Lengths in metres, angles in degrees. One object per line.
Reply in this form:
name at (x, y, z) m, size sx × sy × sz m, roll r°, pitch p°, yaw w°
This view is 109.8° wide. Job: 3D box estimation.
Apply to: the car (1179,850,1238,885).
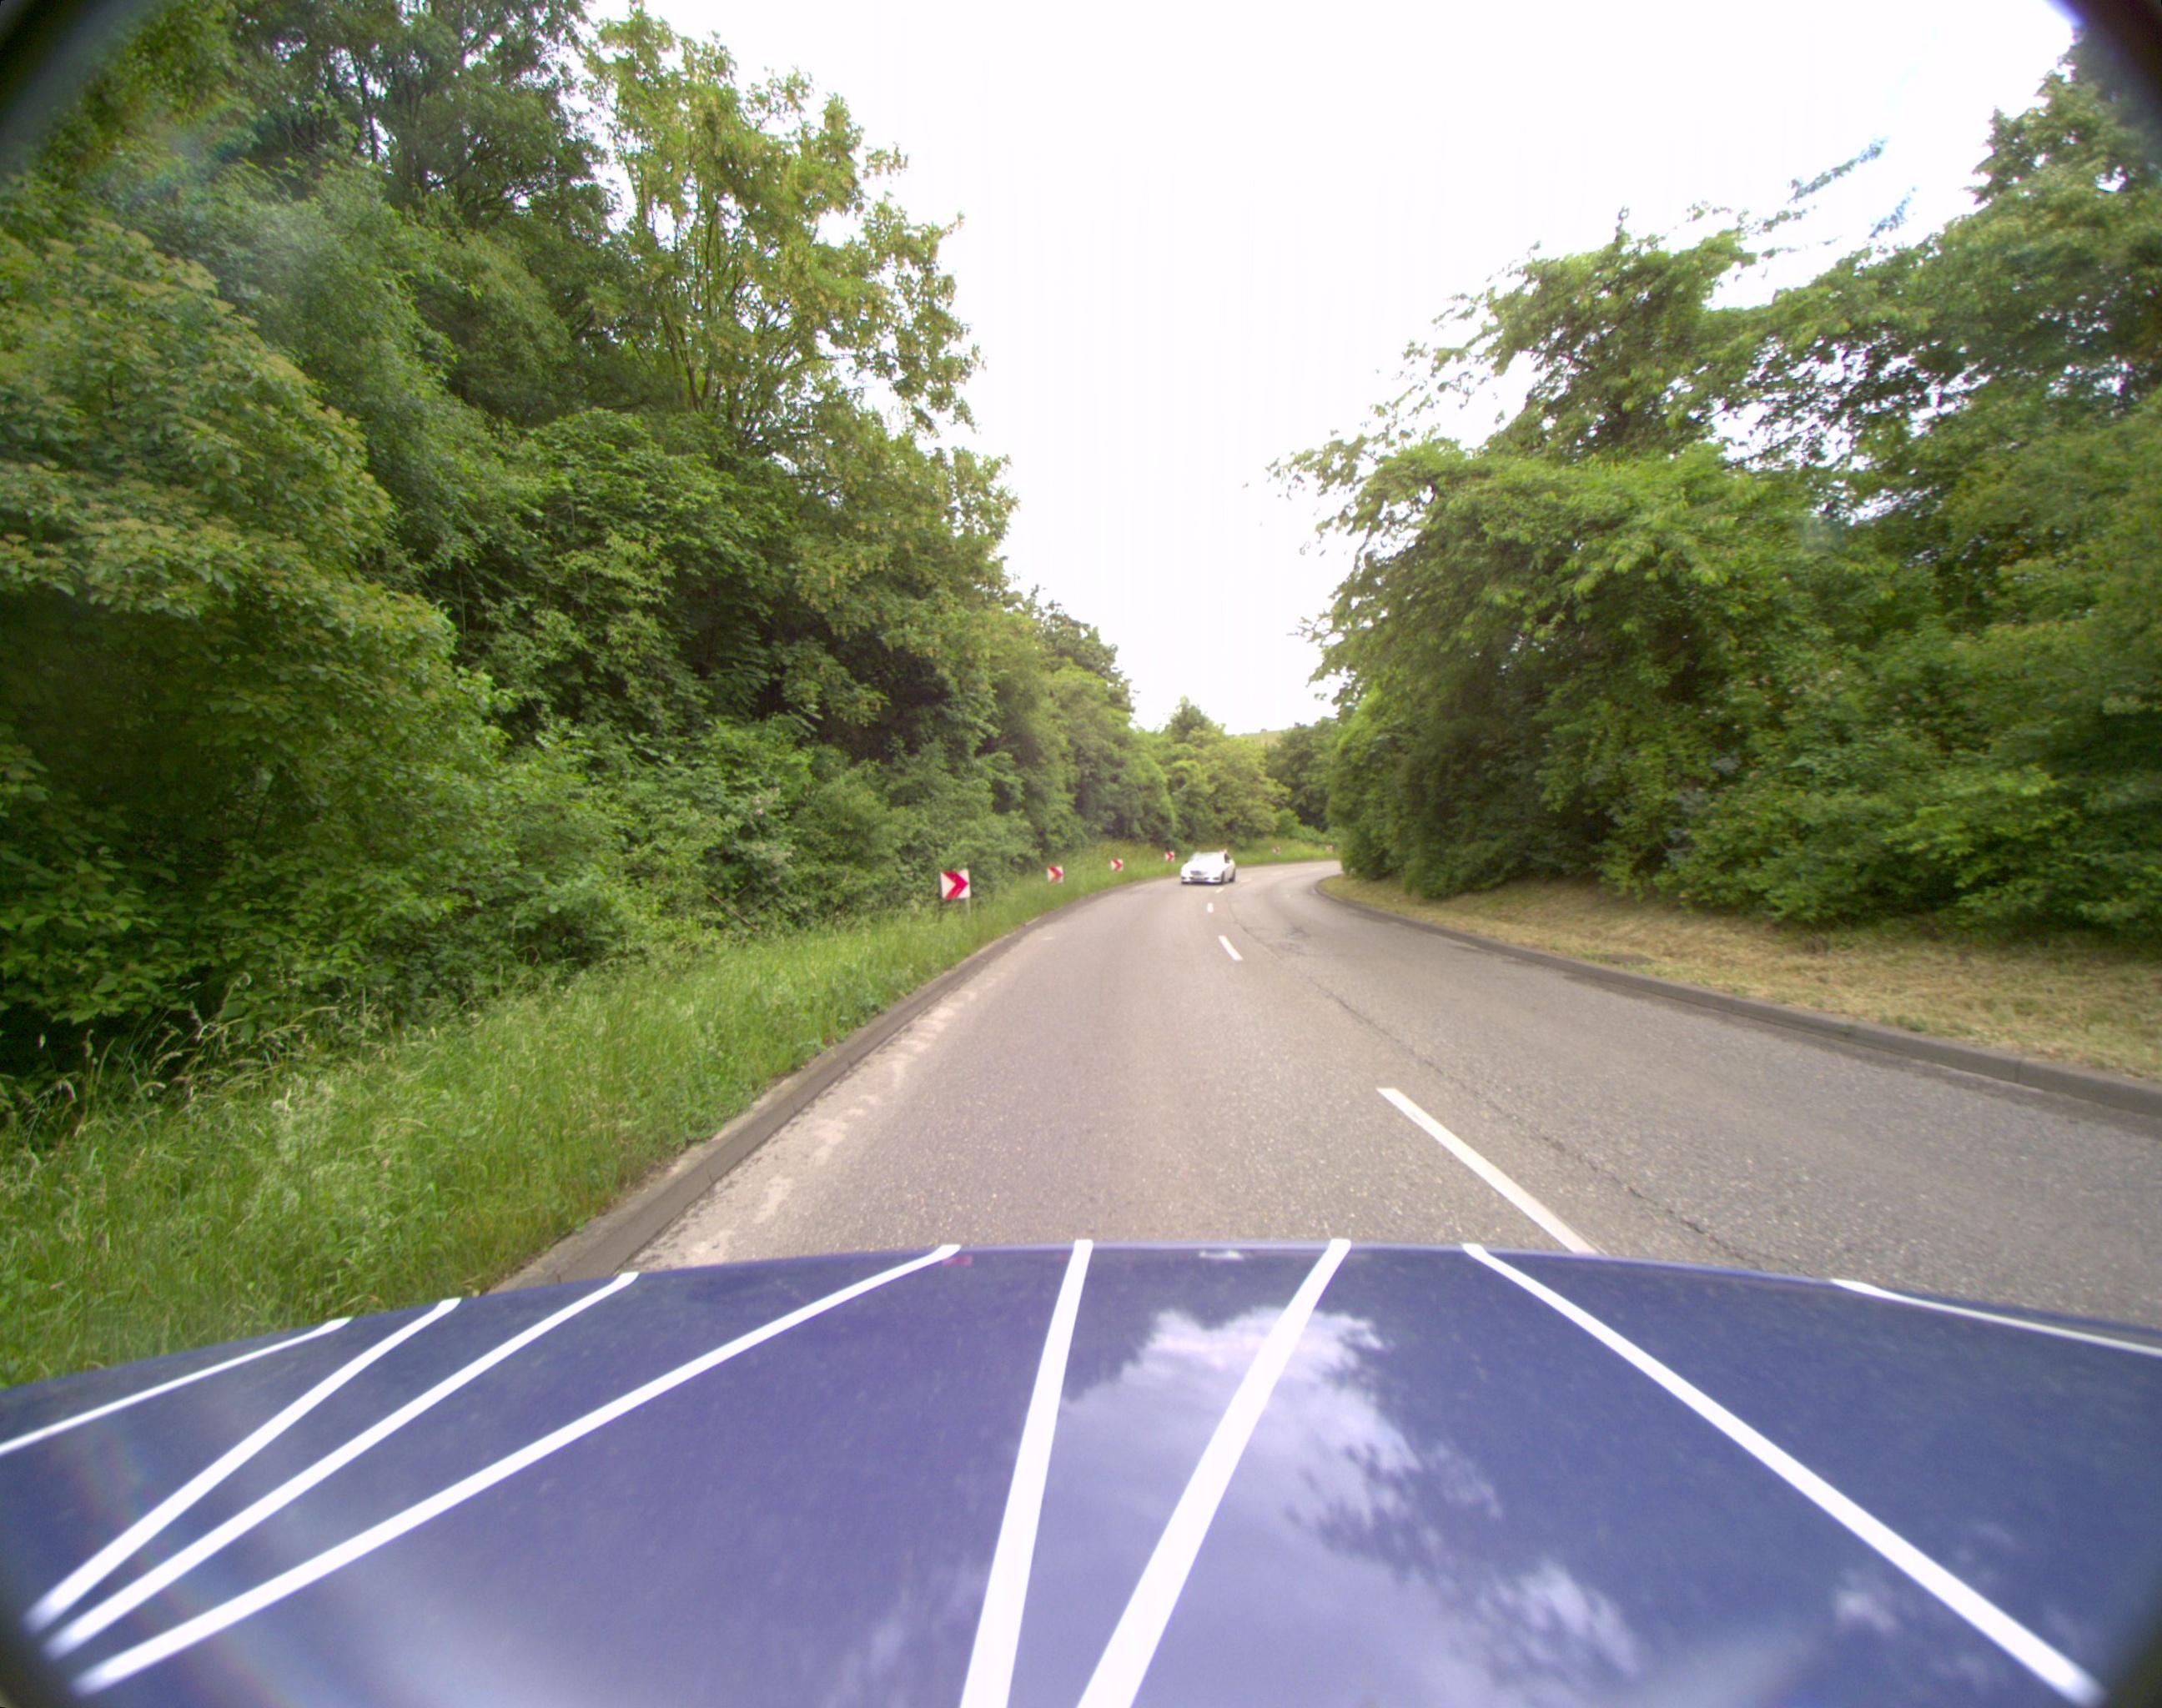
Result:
car at (5.954, 0.571, 35.126) m, size 1.863 × 1.423 × 4.361 m, roll 0°, pitch 1°, yaw 20°
